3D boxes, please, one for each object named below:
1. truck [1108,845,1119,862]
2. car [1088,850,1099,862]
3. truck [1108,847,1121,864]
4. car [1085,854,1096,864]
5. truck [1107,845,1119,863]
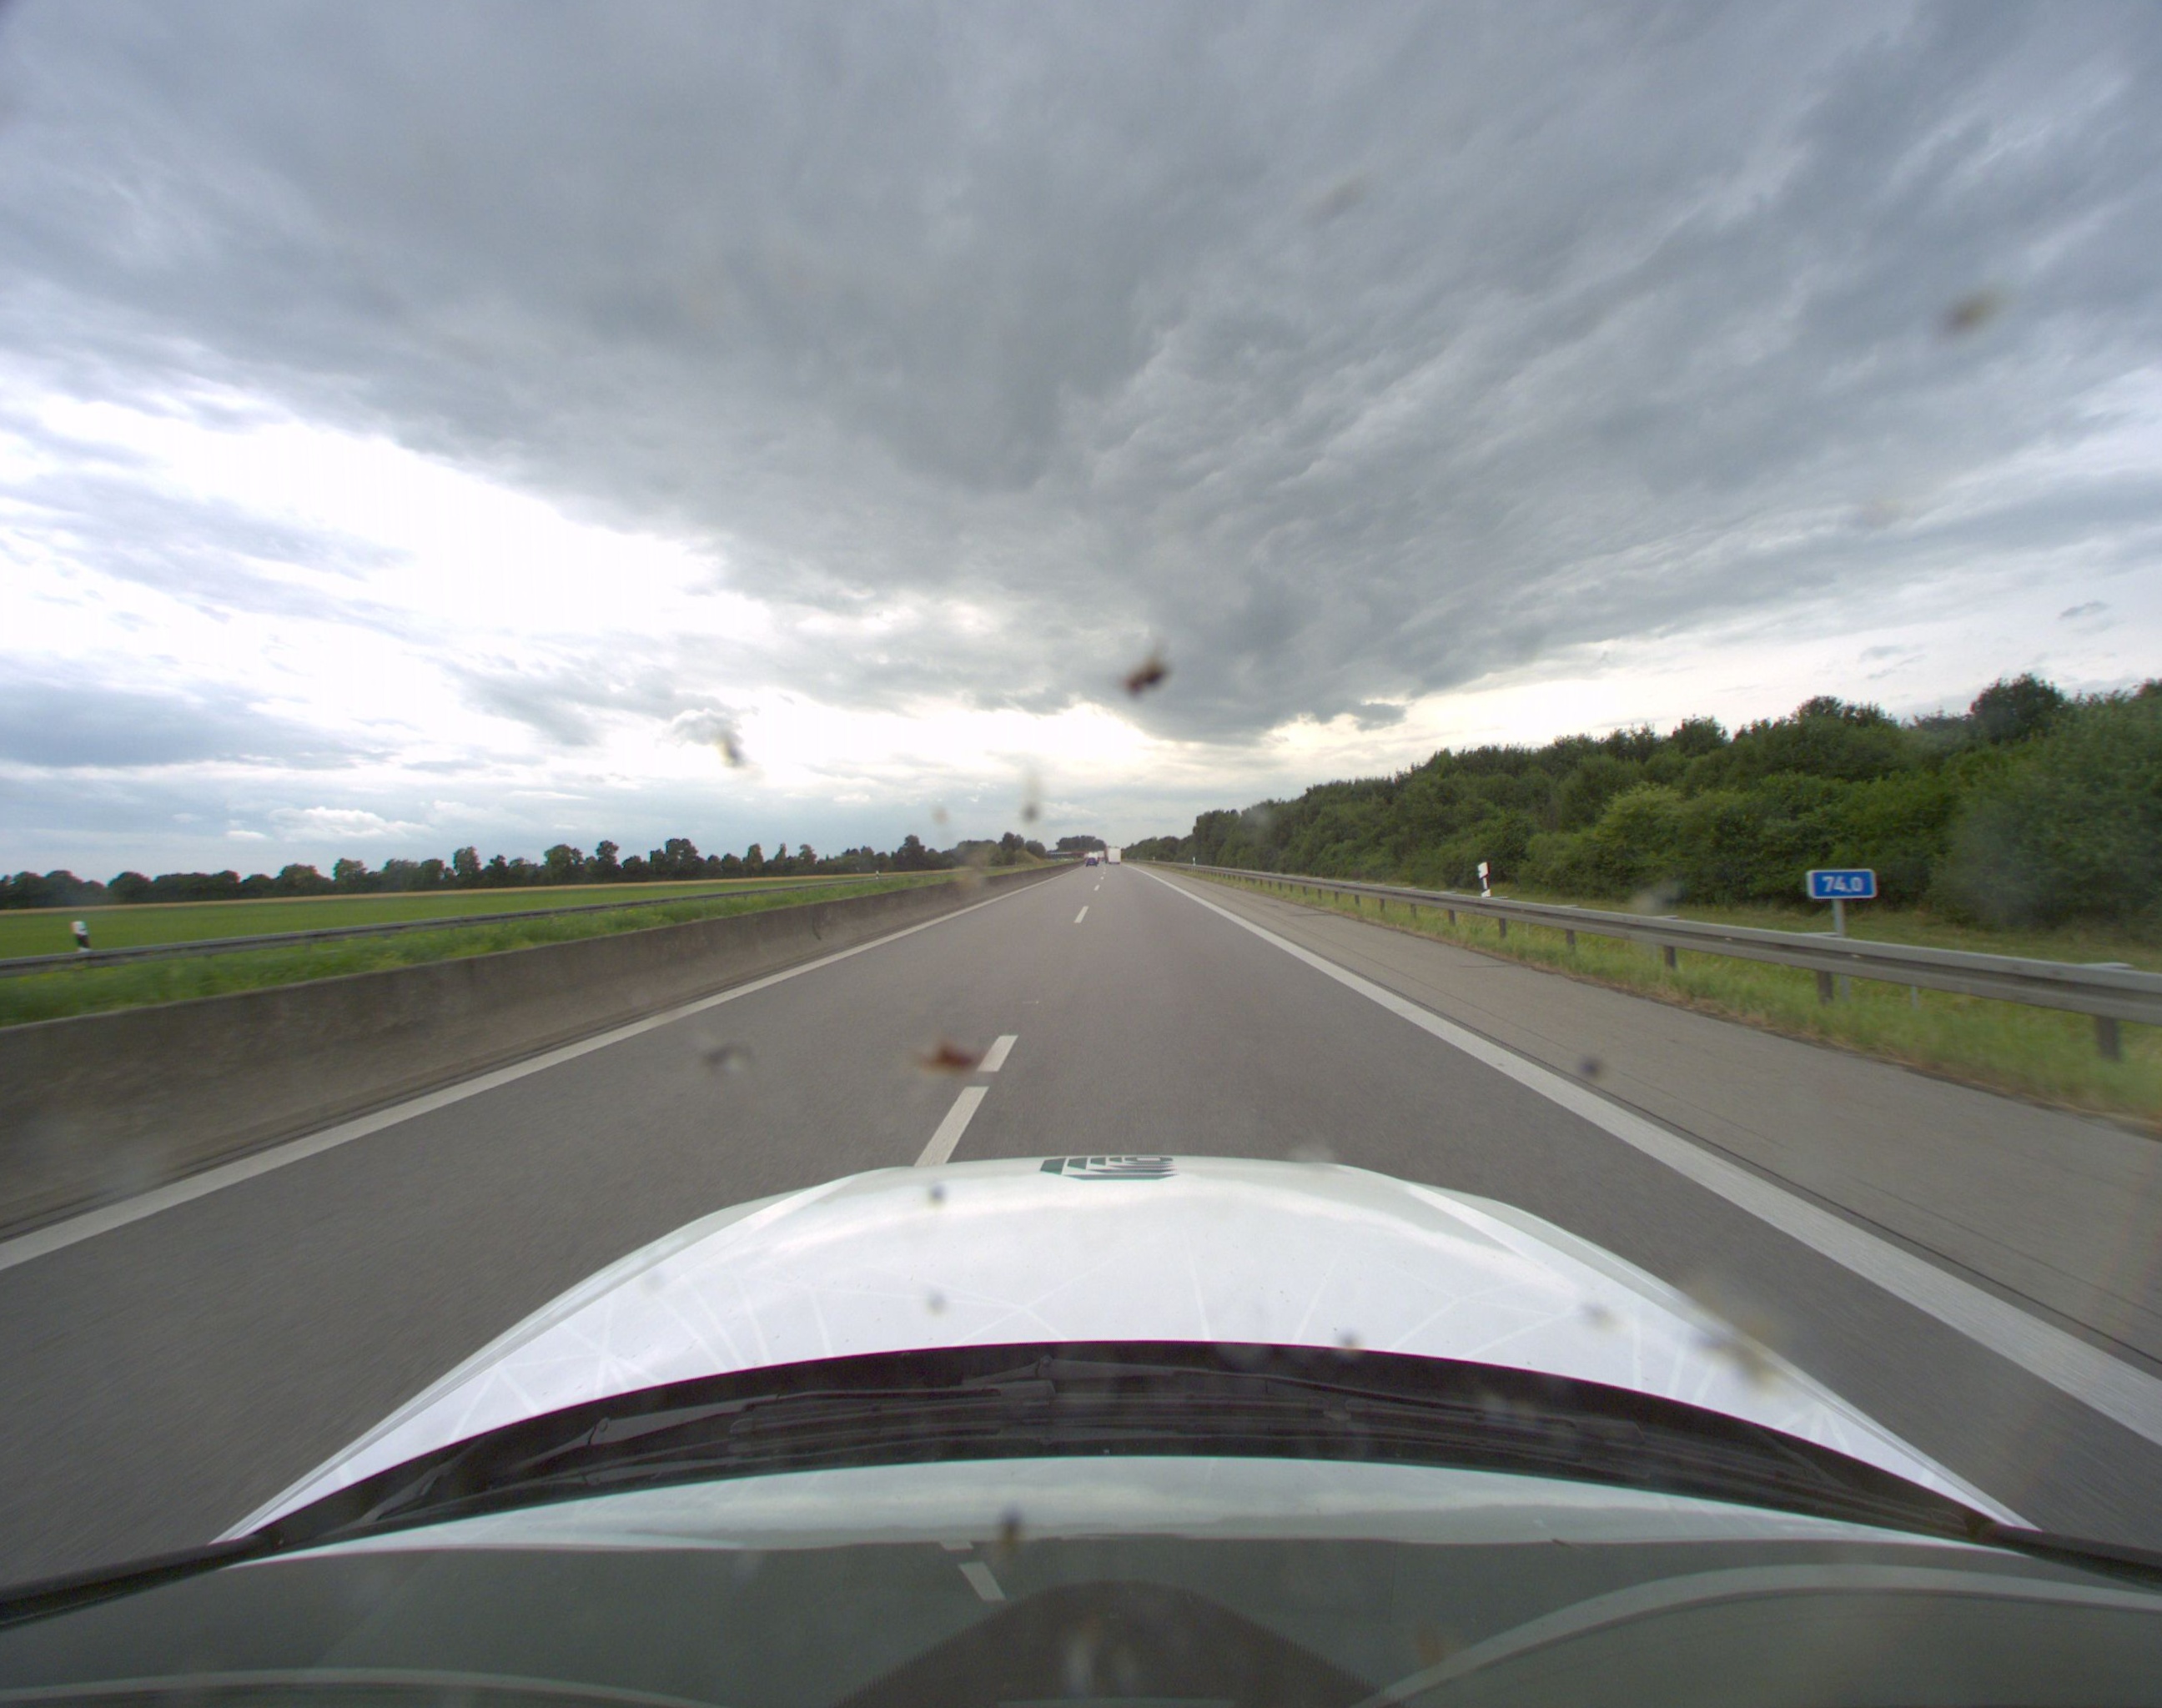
[{"bbox_3d":[8.046,-0.035,203.385,2.663,4.045,5.515,-2,0,2],"label":"truck"},{"bbox_3d":[2.717,0.391,169.839,2.122,2.483,5.841,-2,-1,1],"label":"car"},{"bbox_3d":[6.601,0.261,161.186,2.406,3.222,7.145,-1,-1,2],"label":"truck"},{"bbox_3d":[1.488,0.804,127.557,1.658,1.407,3.647,-1,0,-1],"label":"car"},{"bbox_3d":[7.855,-0.038,198.042,2.663,4.045,11.112,-2,0,2],"label":"truck"}]
